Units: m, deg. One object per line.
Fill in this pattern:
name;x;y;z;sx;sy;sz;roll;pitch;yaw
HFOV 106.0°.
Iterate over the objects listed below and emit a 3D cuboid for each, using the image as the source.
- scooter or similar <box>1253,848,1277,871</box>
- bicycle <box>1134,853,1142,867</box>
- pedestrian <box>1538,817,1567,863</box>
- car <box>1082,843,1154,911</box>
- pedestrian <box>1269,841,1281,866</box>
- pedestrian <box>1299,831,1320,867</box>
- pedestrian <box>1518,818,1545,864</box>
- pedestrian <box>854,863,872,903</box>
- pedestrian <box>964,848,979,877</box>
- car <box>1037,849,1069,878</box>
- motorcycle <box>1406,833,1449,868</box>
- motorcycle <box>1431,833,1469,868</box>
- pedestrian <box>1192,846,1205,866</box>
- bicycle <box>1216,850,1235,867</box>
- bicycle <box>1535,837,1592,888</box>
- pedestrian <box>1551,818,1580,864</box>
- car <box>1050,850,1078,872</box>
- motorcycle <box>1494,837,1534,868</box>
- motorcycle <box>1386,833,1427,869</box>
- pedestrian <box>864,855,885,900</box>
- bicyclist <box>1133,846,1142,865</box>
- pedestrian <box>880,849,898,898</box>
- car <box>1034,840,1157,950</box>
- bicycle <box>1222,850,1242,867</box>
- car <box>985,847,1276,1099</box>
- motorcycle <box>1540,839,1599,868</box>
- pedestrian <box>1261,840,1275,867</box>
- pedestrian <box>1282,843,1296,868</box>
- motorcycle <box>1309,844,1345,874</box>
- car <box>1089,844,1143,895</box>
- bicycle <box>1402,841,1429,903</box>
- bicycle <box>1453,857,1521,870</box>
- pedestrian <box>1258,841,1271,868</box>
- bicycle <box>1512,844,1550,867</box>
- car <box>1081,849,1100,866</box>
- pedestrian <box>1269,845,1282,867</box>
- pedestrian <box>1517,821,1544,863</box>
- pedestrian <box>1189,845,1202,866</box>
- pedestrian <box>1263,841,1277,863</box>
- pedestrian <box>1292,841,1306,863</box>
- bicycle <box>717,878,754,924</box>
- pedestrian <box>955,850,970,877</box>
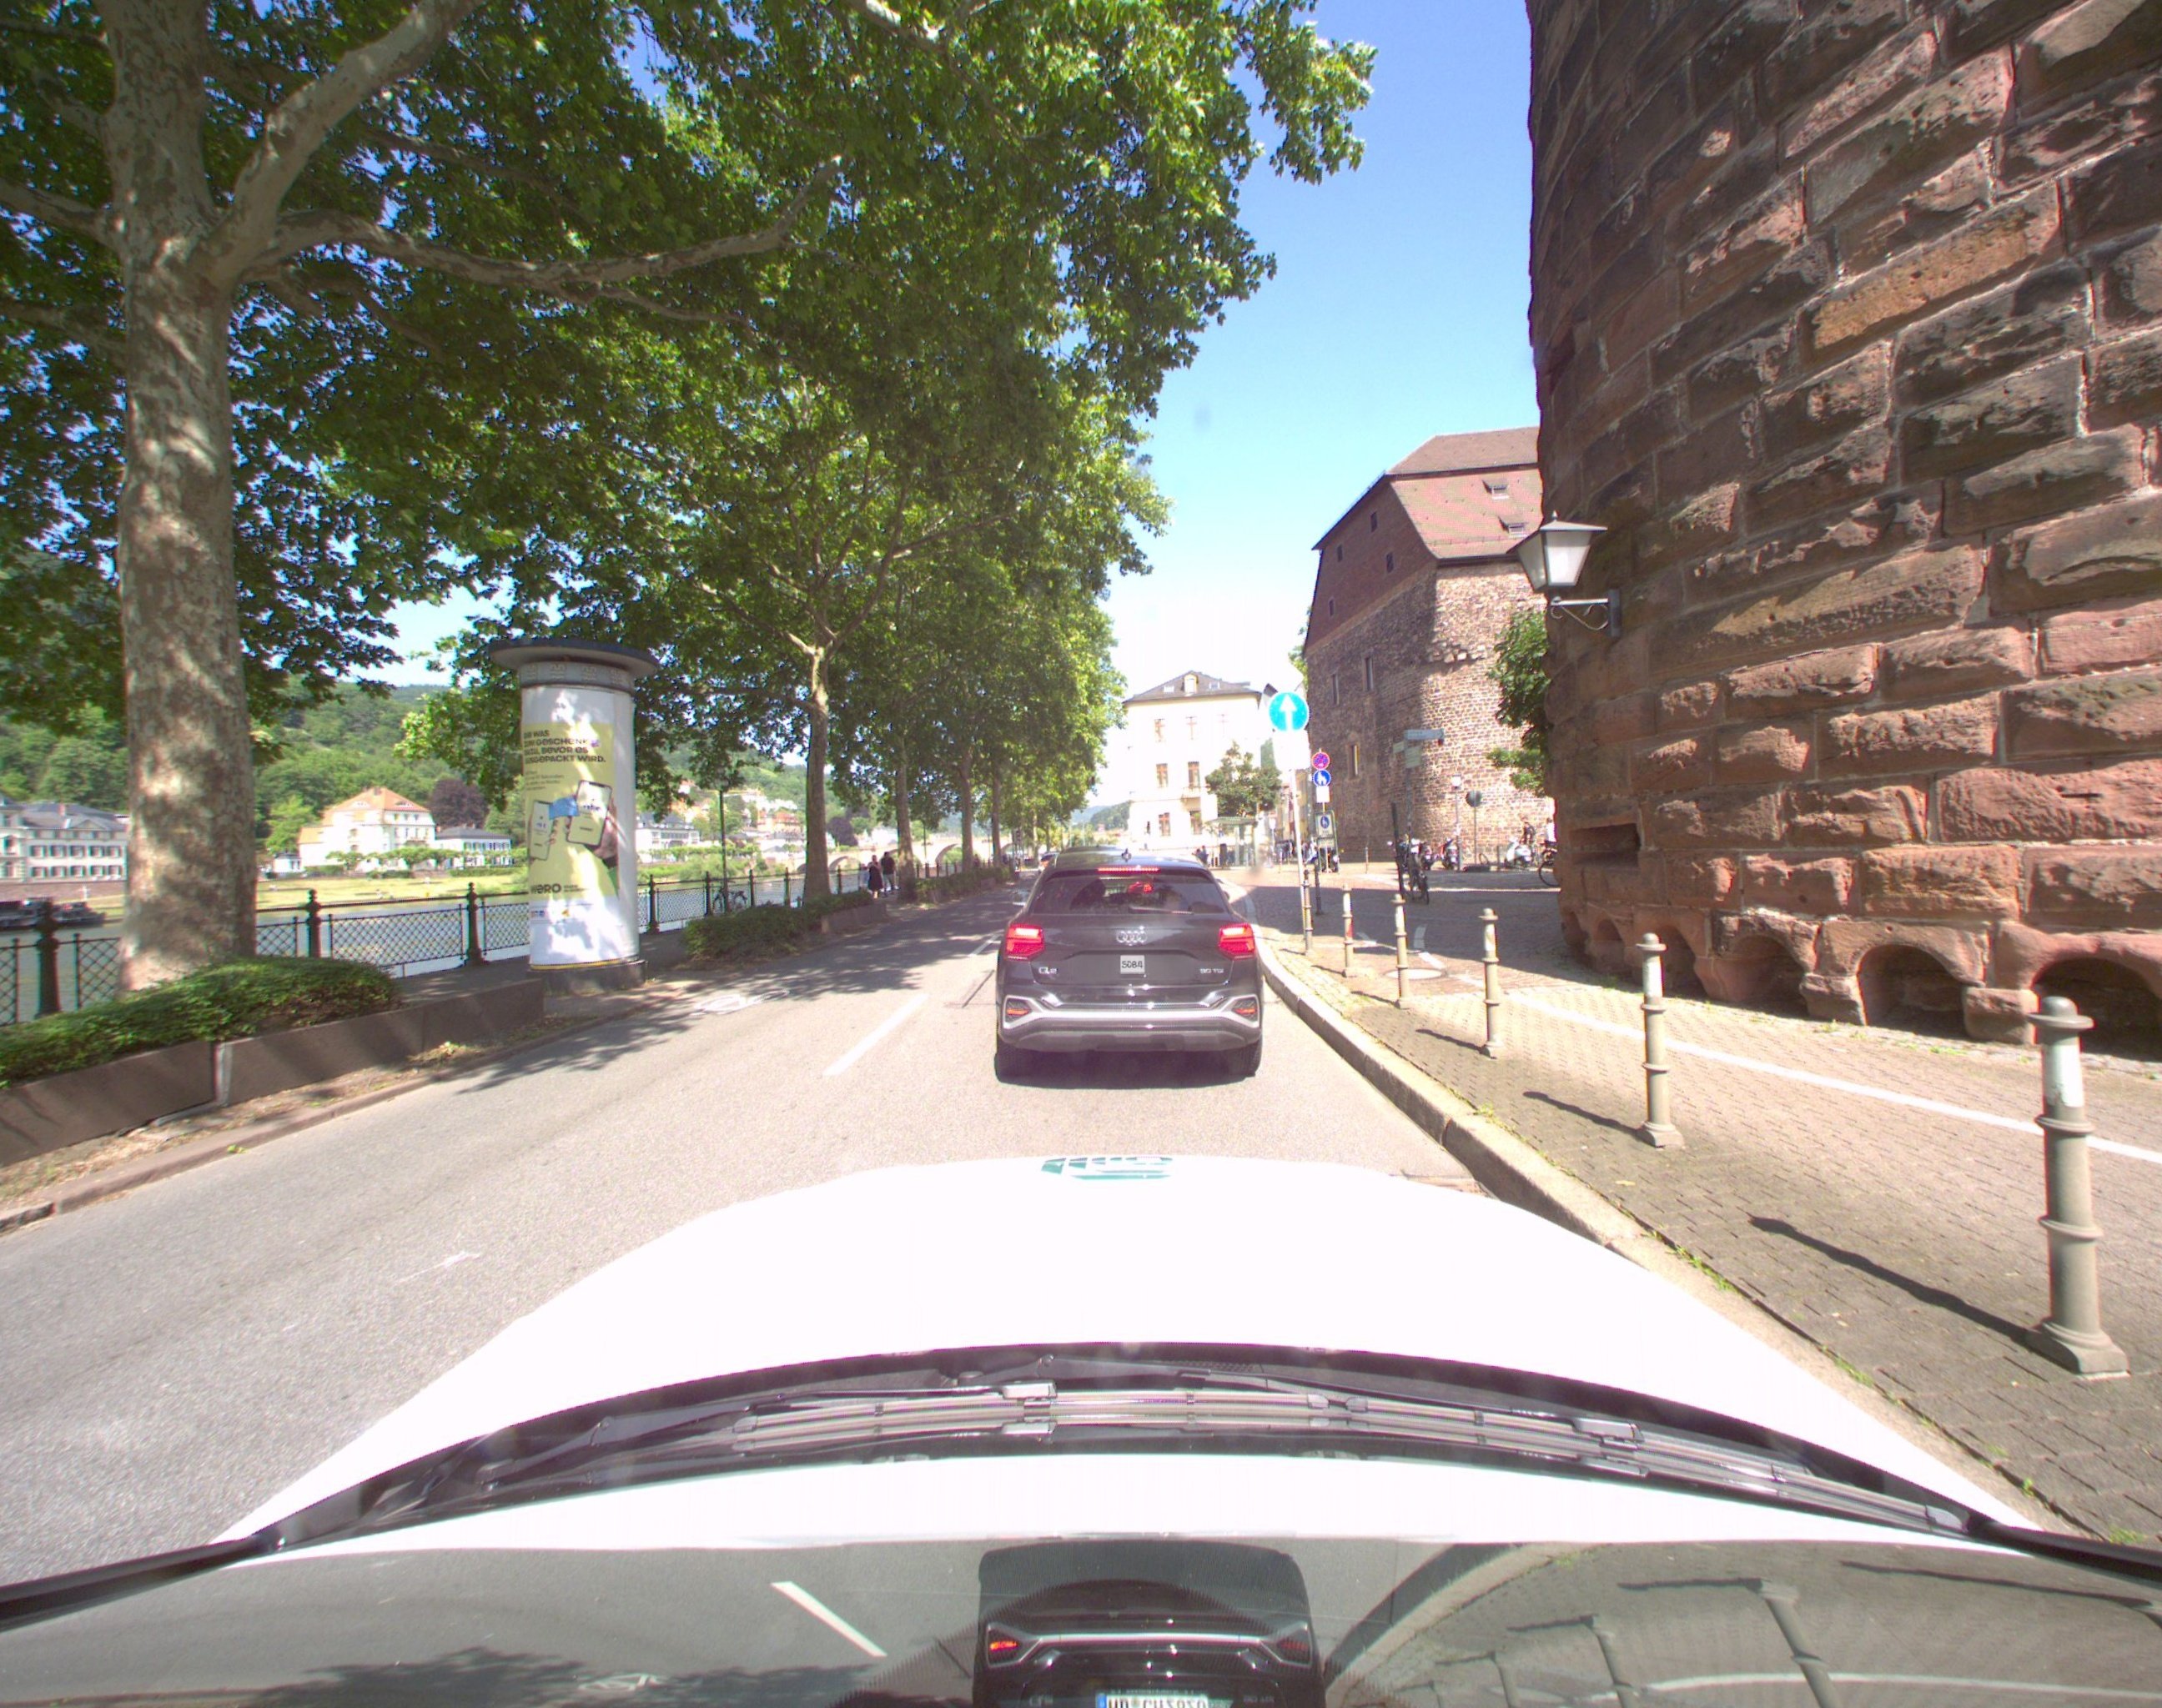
scooter or similar;8.879;0.262;39.356;1.085;1.066;0.323;0;-1;-1
bicycle;4.354;0.458;62.605;0.436;1.086;1.675;0;-1;-2
pedestrian;19.720;-0.565;34.095;0.673;1.884;0.812;0;-1;-33
car;0.964;0.561;21.693;1.704;1.609;3.656;-1;0;2
pedestrian;16.014;-0.043;67.129;0.836;2.014;0.738;0;-1;2
pedestrian;11.075;-0.243;39.516;0.800;1.662;0.660;-3;0;24
pedestrian;20.015;-0.585;36.187;0.868;2.014;0.735;-1;-1;15
pedestrian;-7.601;0.992;28.395;0.476;1.362;0.418;-1;0;5
pedestrian;-7.685;0.577;57.373;0.906;2.014;0.587;-1;-1;6
car;-1.783;0.592;52.357;1.667;1.660;4.224;-5;0;1
motorcycle;12.757;-0.124;30.043;0.672;1.235;2.313;0;-1;2
motorcycle;13.653;-0.109;30.190;0.544;1.235;2.031;0;-1;2
pedestrian;6.962;0.117;48.182;0.662;1.211;0.640;0;-1;-5
bicycle;8.781;0.261;49.552;1.187;1.016;0.178;0;-1;-17
bicycle;11.522;0.181;19.506;0.444;1.162;1.733;-2;0;5
pedestrian;20.470;-0.554;34.404;0.672;1.920;0.813;0;-1;-29
car;-1.359;0.527;66.767;1.761;1.660;4.005;-4;0;4
motorcycle;15.449;-0.049;29.095;0.505;1.073;1.841;0;-1;2
motorcycle;11.945;-0.085;29.910;0.653;1.266;2.201;-2;-1;2
pedestrian;-7.901;0.895;31.155;0.599;1.685;0.583;-3;0;0
bicyclist;4.339;0.104;62.572;0.604;1.450;0.590;0;-1;-3
pedestrian;-7.528;0.763;31.938;0.532;1.887;0.437;-1;0;1
car;0.259;0.593;13.585;1.786;1.595;3.400;0;0;2
bicycle;9.061;0.253;48.934;1.205;1.035;0.178;0;-1;-17
car;0.351;0.701;6.710;1.736;1.509;3.649;0;0;2
motorcycle;18.445;-0.015;30.779;1.854;1.054;0.481;-1;-1;9
pedestrian;13.434;-0.060;58.514;0.740;1.890;0.757;-3;0;29
pedestrian;17.084;0.155;66.760;0.936;2.014;0.808;0;-1;2
motorcycle;9.059;0.170;30.061;0.564;1.012;2.490;-2;0;1
car;1.229;0.505;29.139;1.788;1.682;4.002;-1;0;2
bicycle;6.859;0.334;16.754;0.192;1.203;1.775;-2;1;13
bicycle;13.594;0.314;27.322;1.914;0.381;0.921;-2;-1;16
pedestrian;9.565;0.009;42.449;0.555;1.385;0.588;-1;-1;4
bicycle;16.630;0.057;30.150;0.352;0.820;1.926;0;1;1
car;1.071;0.372;90.696;1.985;1.806;4.003;0;-1;3
pedestrian;17.578;0.168;73.646;0.941;2.014;0.808;0;-1;2
pedestrian;19.542;-0.512;35.438;0.658;1.802;0.836;-1;0;-44
pedestrian;6.881;0.098;48.899;0.662;1.231;0.640;0;-1;-5
pedestrian;12.862;-0.124;55.399;0.637;1.444;0.797;-3;0;-5
pedestrian;16.104;-0.146;60.096;0.684;1.612;0.897;-4;0;32
bicycle;-8.887;1.196;20.969;0.358;1.091;1.296;1;0;1
pedestrian;-8.029;0.658;55.144;0.906;1.811;0.586;-1;-1;6
